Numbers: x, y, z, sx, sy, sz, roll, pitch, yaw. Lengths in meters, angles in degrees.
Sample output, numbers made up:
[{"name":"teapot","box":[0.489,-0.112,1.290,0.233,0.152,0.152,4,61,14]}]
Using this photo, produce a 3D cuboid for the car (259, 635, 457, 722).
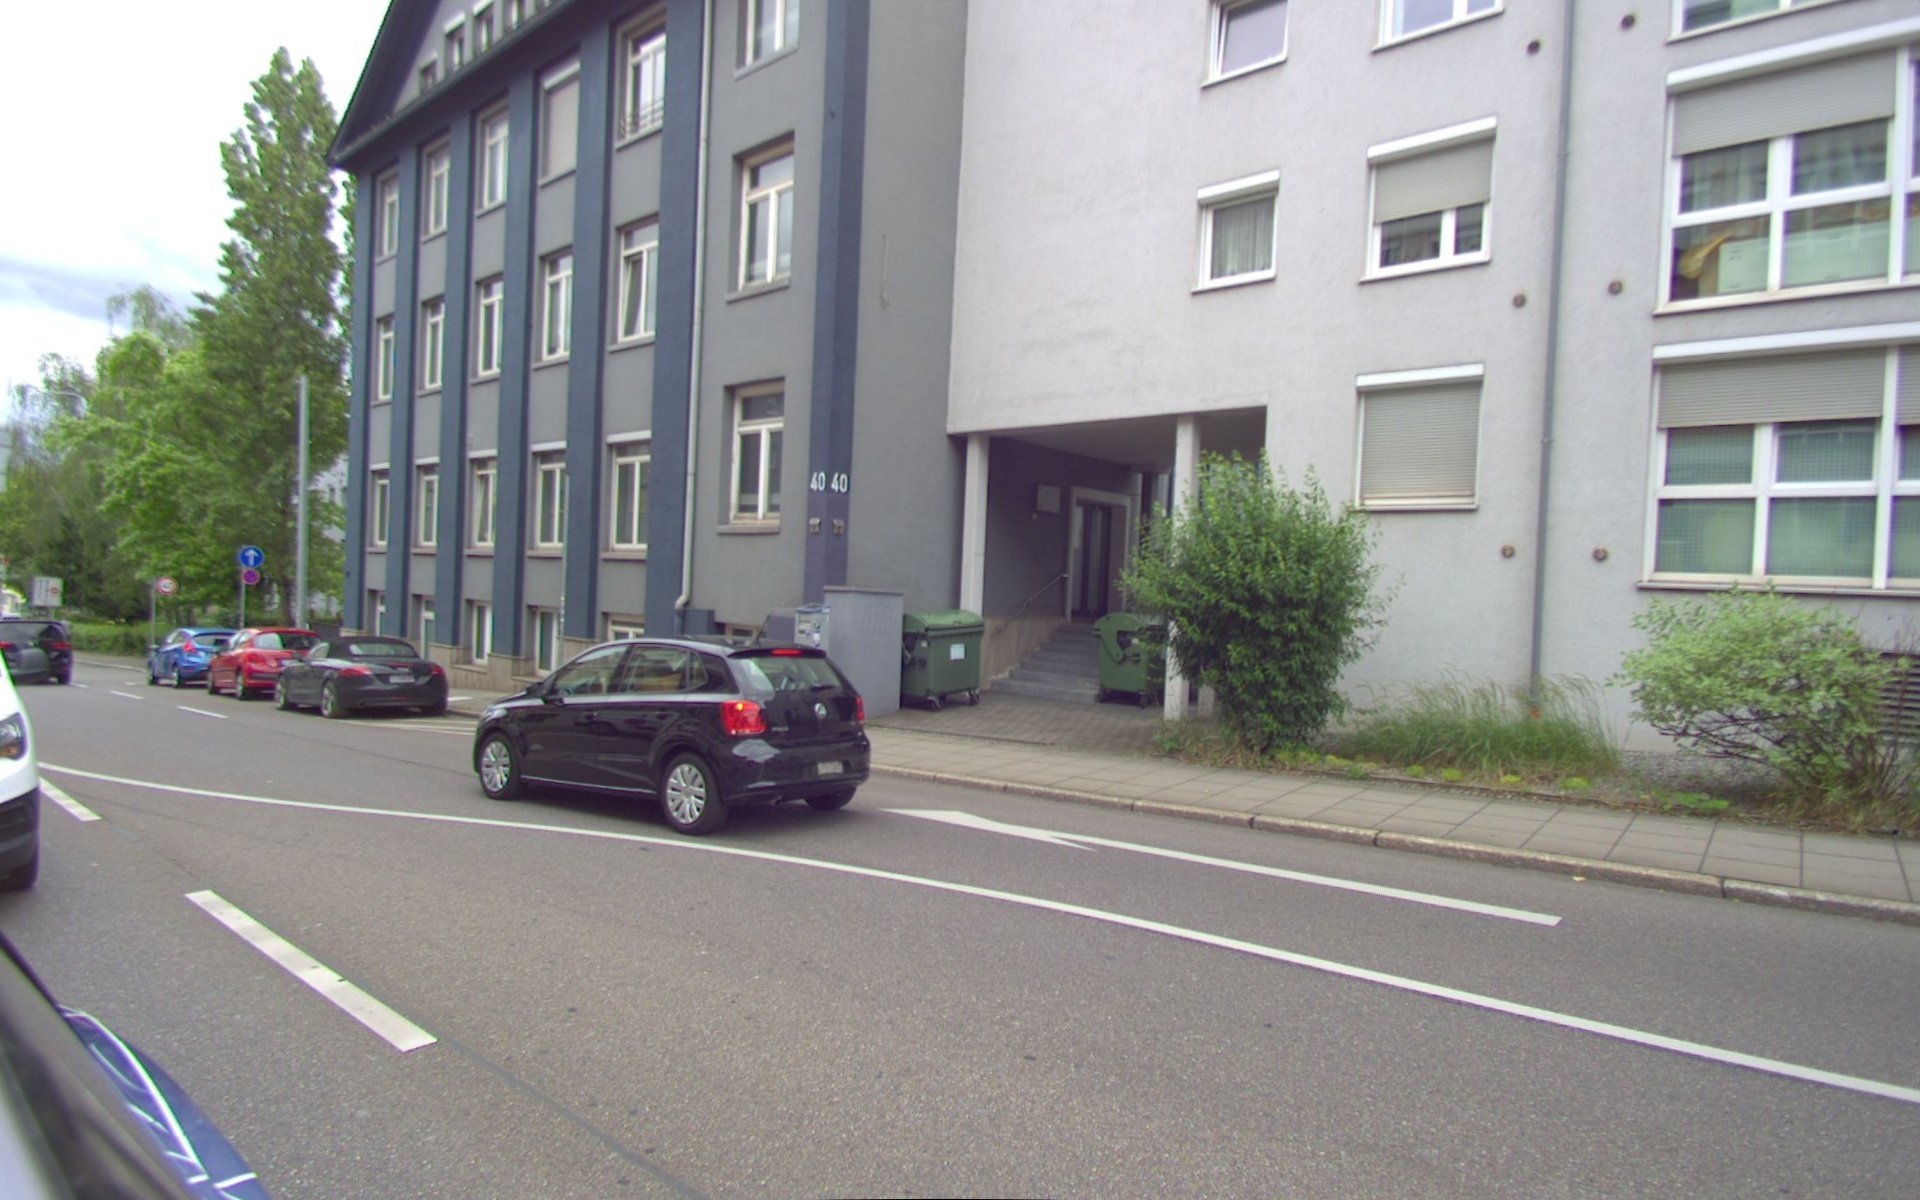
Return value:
[{"name":"car","box":[-10.589,1.312,17.699,4.038,1.337,1.702,-1,-4,40]}]

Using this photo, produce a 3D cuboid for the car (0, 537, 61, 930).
[{"name":"car","box":[-6.765,0.670,5.814,4.937,1.821,1.816,-1,0,42]}]

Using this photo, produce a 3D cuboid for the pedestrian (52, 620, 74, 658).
[{"name":"pedestrian","box":[-44.062,1.918,49.703,0.776,1.864,0.736,-2,-2,42]}]

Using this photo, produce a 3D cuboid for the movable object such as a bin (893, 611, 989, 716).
[{"name":"movable object such as a bin","box":[-0.279,0.921,15.253,0.784,1.467,1.251,0,1,44]}]

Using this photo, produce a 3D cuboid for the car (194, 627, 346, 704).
[{"name":"car","box":[-14.809,1.368,21.664,3.868,1.485,1.796,-2,-4,42]}]

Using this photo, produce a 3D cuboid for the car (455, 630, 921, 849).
[{"name":"car","box":[-2.344,0.998,8.425,3.784,1.411,1.659,-1,-4,34]}]

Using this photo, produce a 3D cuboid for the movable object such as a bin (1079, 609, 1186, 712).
[{"name":"movable object such as a bin","box":[2.760,0.931,16.173,1.190,1.489,1.132,5,2,41]}]

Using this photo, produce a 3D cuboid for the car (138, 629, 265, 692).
[{"name":"car","box":[-19.004,1.475,25.324,3.724,1.465,1.702,-1,-3,40]}]

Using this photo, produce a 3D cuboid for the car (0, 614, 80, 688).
[{"name":"car","box":[-23.823,1.249,25.527,4.304,1.720,1.765,-1,-4,41]}]
